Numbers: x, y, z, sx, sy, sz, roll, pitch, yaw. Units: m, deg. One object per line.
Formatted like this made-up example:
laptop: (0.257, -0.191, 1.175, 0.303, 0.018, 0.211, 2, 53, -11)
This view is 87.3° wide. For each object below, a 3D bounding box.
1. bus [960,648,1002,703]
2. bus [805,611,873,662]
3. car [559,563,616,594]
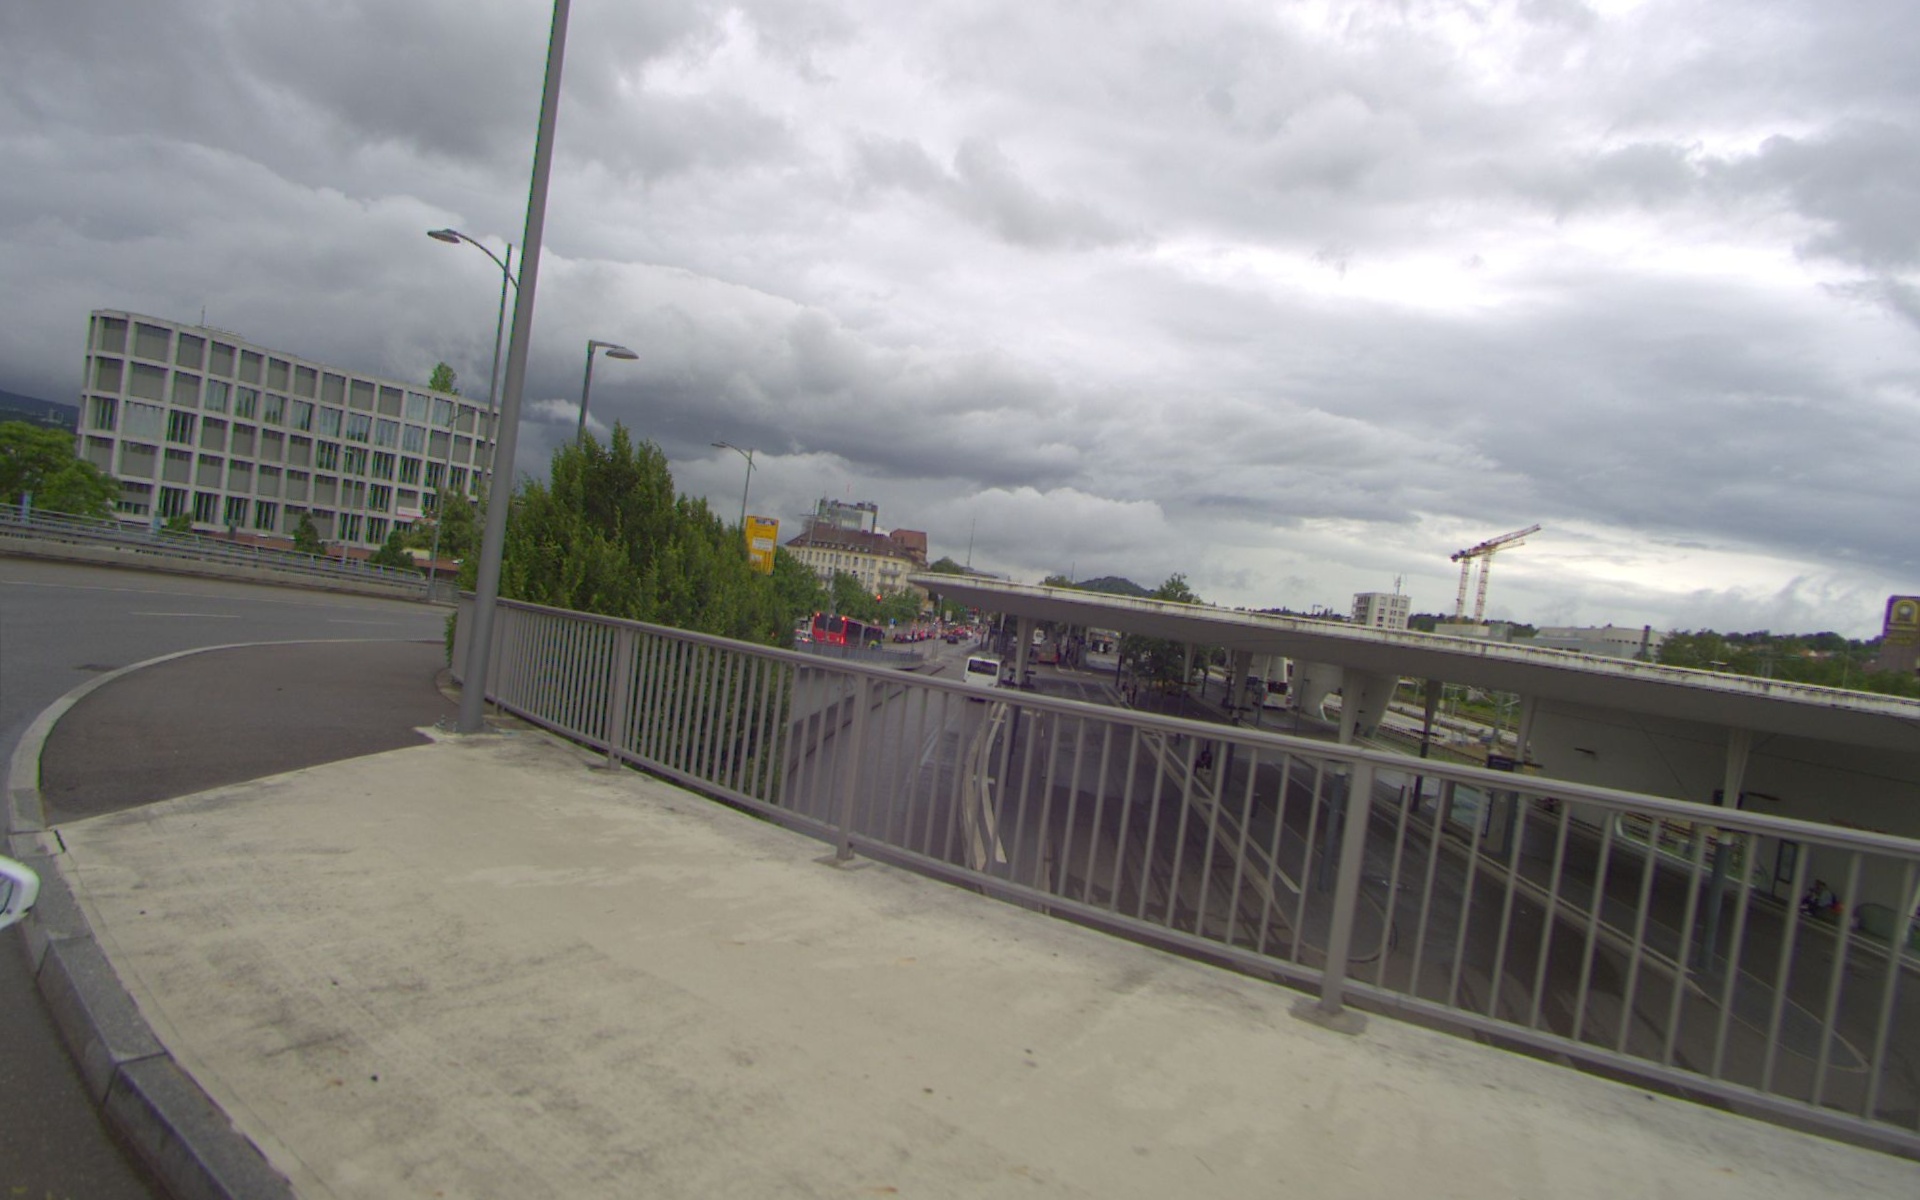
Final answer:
bus: (1.624, 5.659, 76.648, 2.605, 3.278, 7.067, 8, 1, 2)
bus: (-9.167, 2.964, 77.706, 2.784, 3.223, 10.324, 10, -3, 5)
car: (-24.006, -1.356, 65.037, 1.733, 1.452, 4.005, 10, -2, 5)
